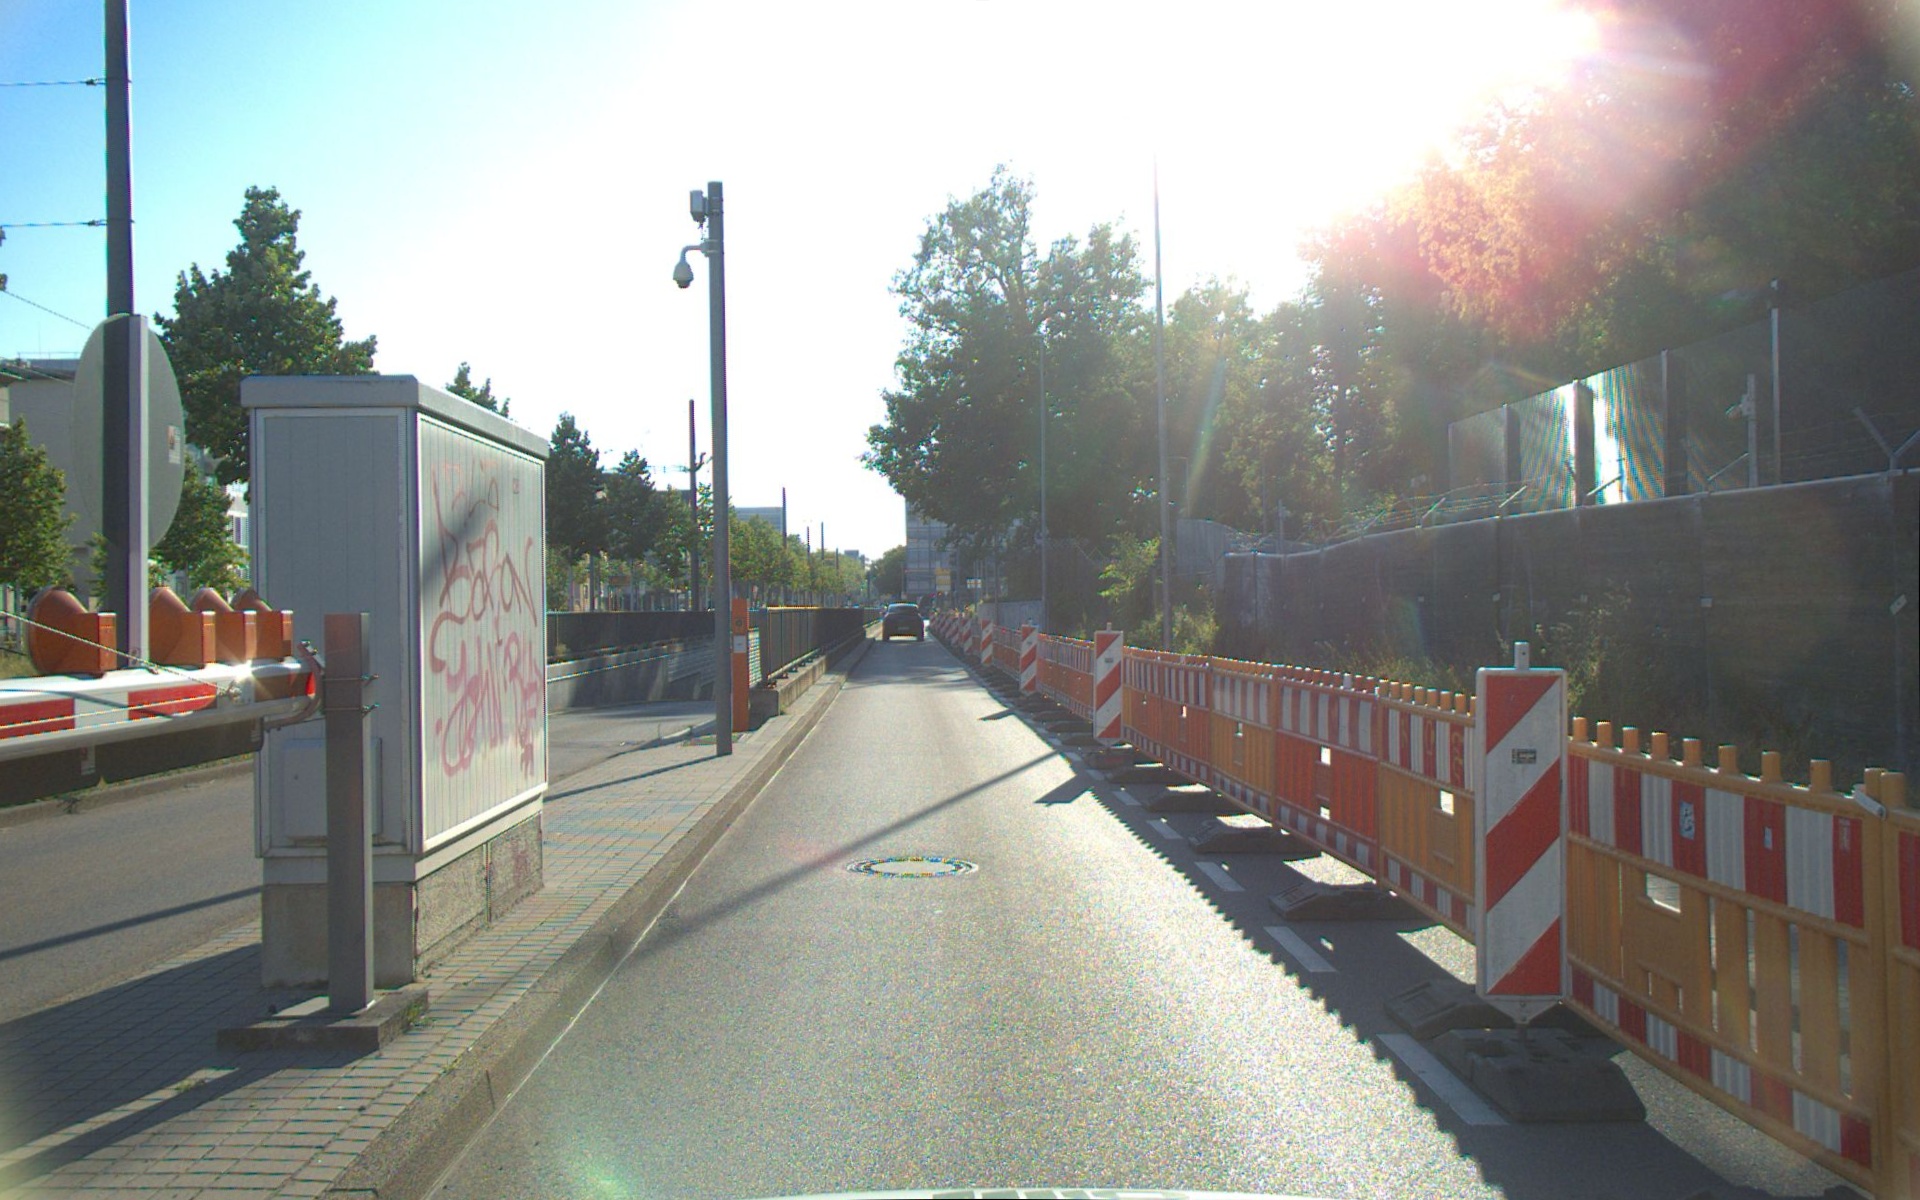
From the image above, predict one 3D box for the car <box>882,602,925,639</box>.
[{"bbox_3d":[-2.667,0.966,78.974,1.964,1.688,3.999,1,-1,-1],"label":"car"}]
